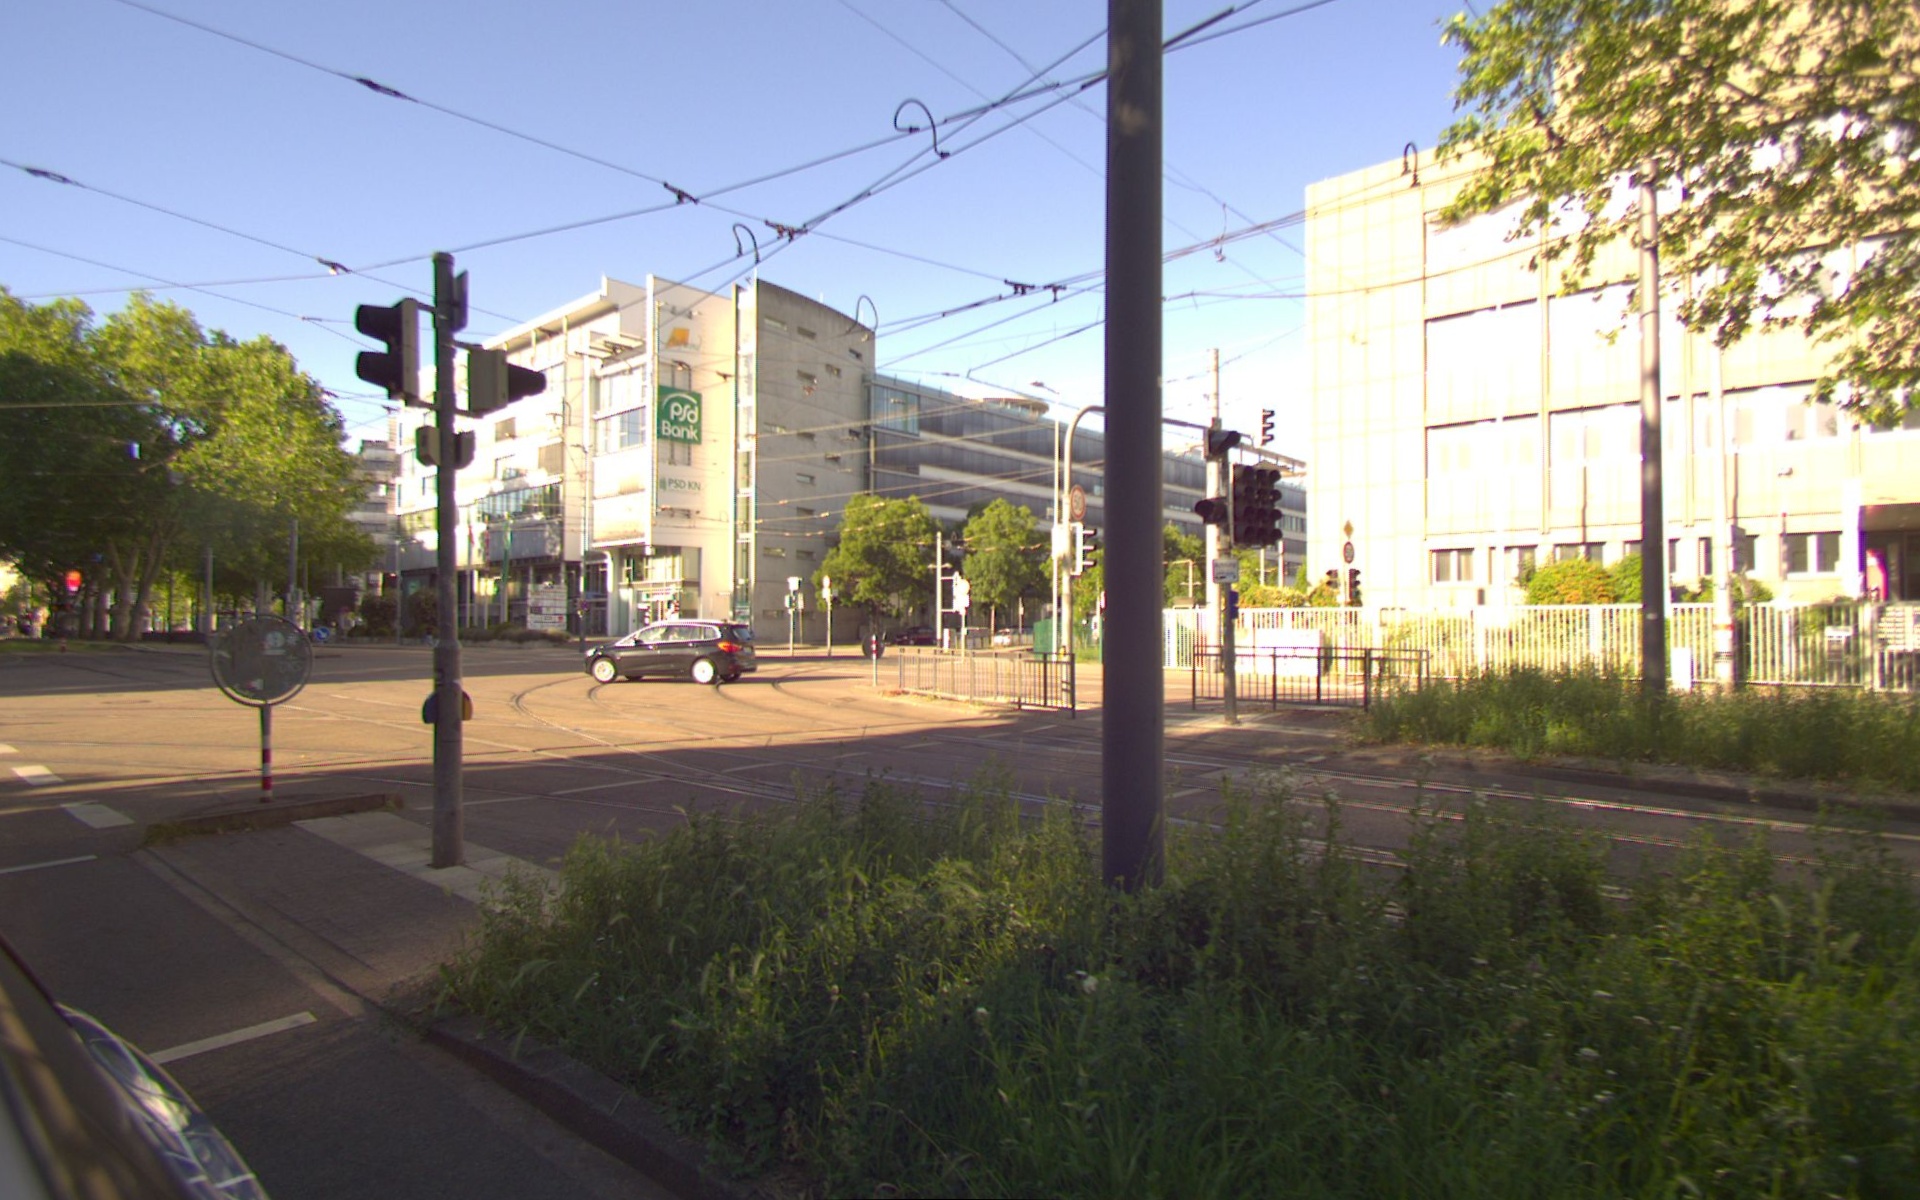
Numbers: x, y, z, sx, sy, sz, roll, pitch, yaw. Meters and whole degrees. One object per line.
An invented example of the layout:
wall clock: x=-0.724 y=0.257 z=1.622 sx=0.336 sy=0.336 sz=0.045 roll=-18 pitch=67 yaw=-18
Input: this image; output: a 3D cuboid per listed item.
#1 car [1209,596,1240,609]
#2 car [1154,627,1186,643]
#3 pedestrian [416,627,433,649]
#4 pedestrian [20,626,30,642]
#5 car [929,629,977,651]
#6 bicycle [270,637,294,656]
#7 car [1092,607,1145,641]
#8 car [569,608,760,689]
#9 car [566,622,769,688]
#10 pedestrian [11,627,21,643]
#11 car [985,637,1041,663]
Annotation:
car: x=30.231 y=0.281 z=115.792 sx=1.998 sy=1.357 sz=3.948 roll=-1 pitch=-2 yaw=39
car: x=22.018 y=3.653 z=105.879 sx=1.734 sy=1.666 sz=3.749 roll=-1 pitch=-2 yaw=39
pedestrian: x=-39.950 y=2.837 z=75.484 sx=0.767 sy=1.604 sz=0.896 roll=-2 pitch=-3 yaw=42
pedestrian: x=-106.257 y=3.839 z=115.017 sx=0.675 sy=1.767 sz=0.649 roll=-2 pitch=-2 yaw=34
car: x=-0.519 y=3.174 z=80.407 sx=1.734 sy=1.666 sz=3.899 roll=-1 pitch=-2 yaw=41
bicycle: x=-35.027 y=2.407 z=52.257 sx=0.803 sy=0.953 sz=1.728 roll=1 pitch=-3 yaw=-42
car: x=12.315 y=1.880 z=78.552 sx=2.180 sy=2.524 sz=4.343 roll=-1 pitch=-2 yaw=39
car: x=-7.500 y=1.224 z=26.047 sx=4.361 sy=1.962 sz=2.000 roll=0 pitch=-2 yaw=-1
car: x=-7.561 y=1.399 z=26.320 sx=4.707 sy=1.629 sz=1.992 roll=0 pitch=-2 yaw=13
pedestrian: x=-106.845 y=3.963 z=114.523 sx=0.697 sy=1.709 sz=0.678 roll=-2 pitch=-2 yaw=34
car: x=3.626 y=3.353 z=68.650 sx=2.104 sy=1.710 sz=3.923 roll=-1 pitch=-3 yaw=35
